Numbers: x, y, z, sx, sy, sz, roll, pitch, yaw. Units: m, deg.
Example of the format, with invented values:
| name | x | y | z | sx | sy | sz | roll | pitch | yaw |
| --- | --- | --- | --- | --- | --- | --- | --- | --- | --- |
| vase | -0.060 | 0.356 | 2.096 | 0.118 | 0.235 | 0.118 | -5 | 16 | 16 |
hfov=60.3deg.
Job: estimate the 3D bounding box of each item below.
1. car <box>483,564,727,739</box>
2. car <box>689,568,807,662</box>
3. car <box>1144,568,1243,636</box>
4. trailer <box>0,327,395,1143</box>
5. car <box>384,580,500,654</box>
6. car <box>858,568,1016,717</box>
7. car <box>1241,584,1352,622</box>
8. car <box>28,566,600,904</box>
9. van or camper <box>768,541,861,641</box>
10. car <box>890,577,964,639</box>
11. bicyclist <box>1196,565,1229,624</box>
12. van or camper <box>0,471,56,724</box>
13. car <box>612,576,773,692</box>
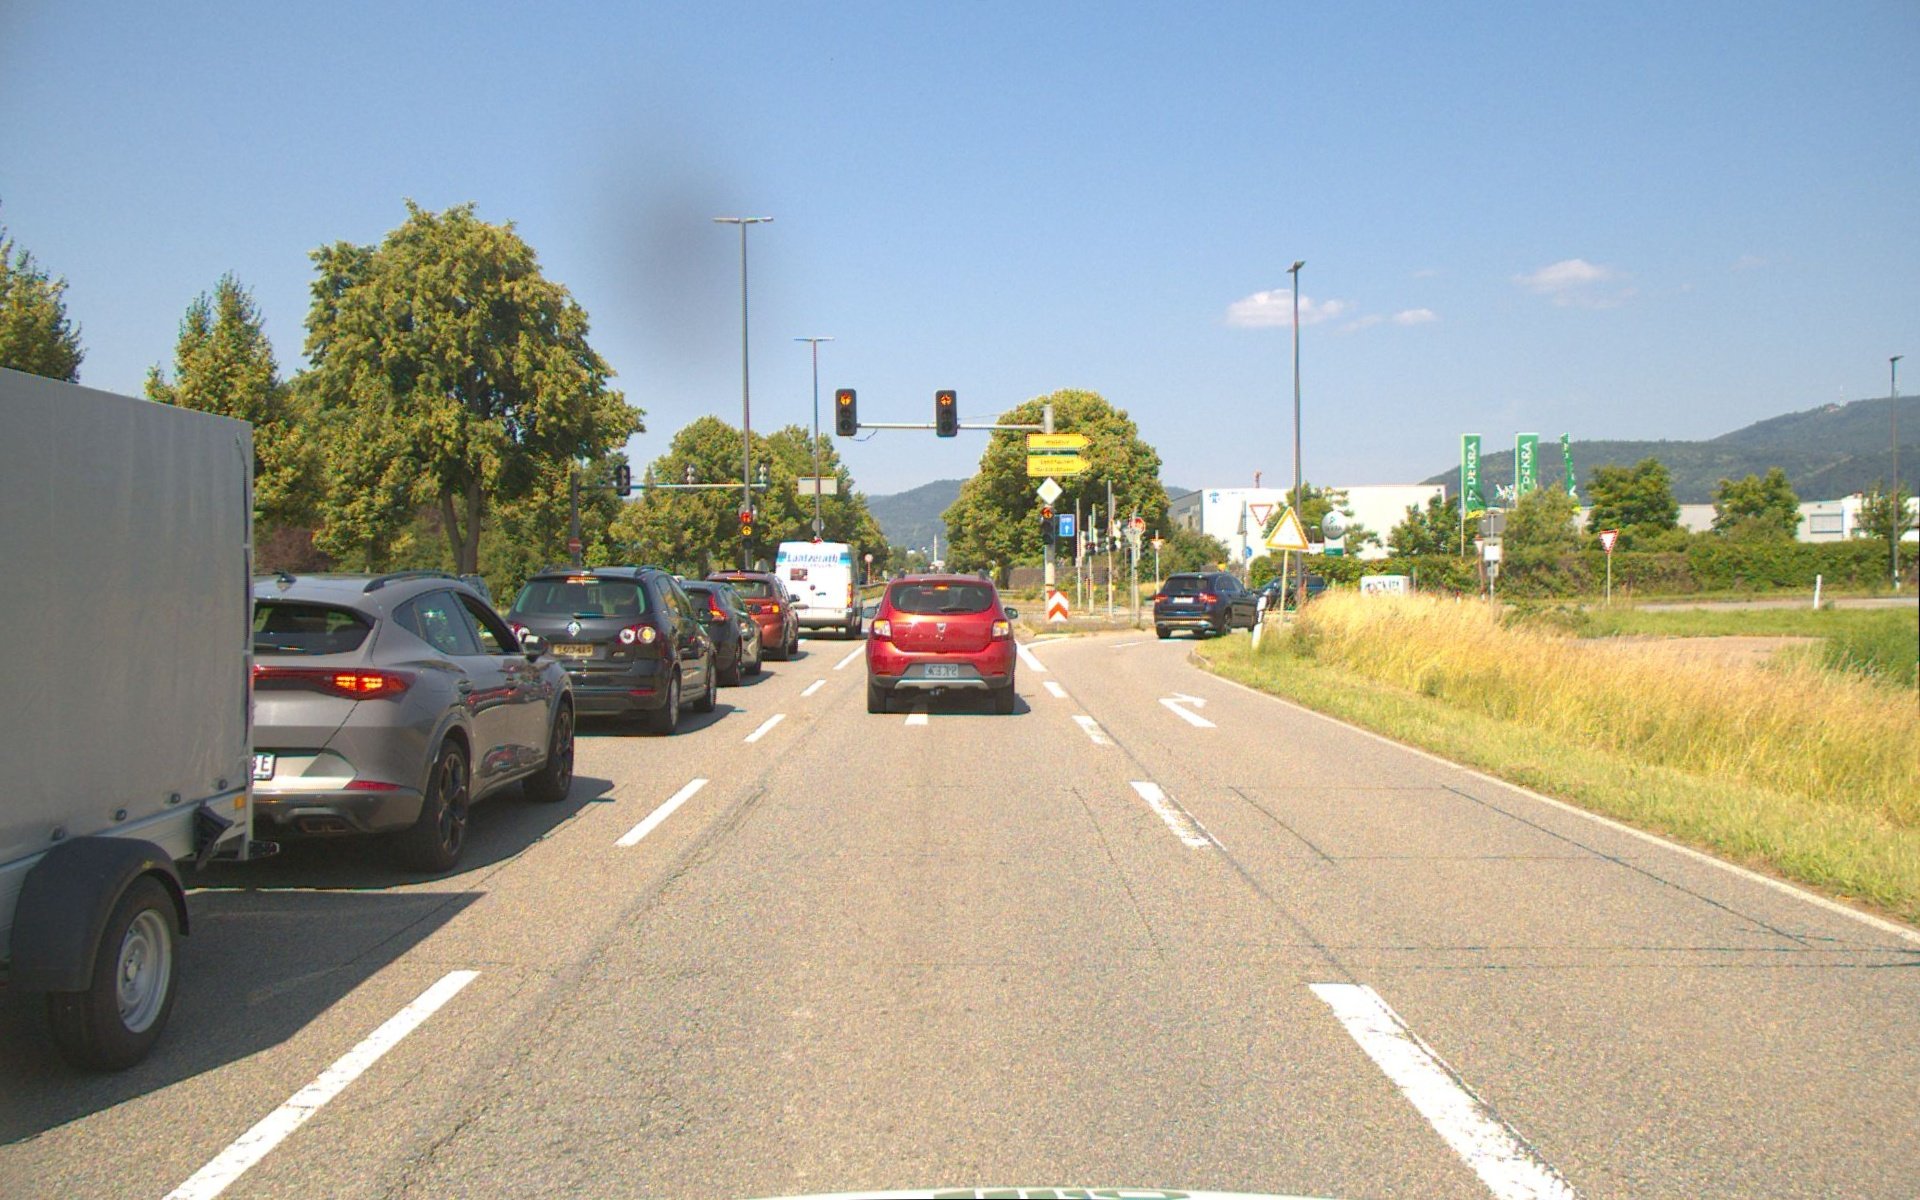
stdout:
| name | x | y | z | sx | sy | sz | roll | pitch | yaw |
| --- | --- | --- | --- | --- | --- | --- | --- | --- | --- |
| car | -3.533 | 0.442 | 17.131 | 1.688 | 1.603 | 3.892 | 0 | 1 | 0 |
| car | -3.900 | 0.236 | 30.947 | 1.689 | 1.628 | 3.955 | 0 | 1 | 0 |
| car | 6.092 | 0.017 | 42.714 | 1.951 | 1.645 | 4.342 | 1 | 1 | 16 |
| trailer | -3.355 | 0.351 | 5.664 | 1.470 | 2.211 | 4.173 | 0 | 1 | -1 |
| car | -14.212 | 0.418 | 45.624 | 1.820 | 1.888 | 4.695 | -1 | 1 | -2 |
| car | -0.217 | 0.439 | 19.851 | 1.713 | 1.603 | 3.677 | 0 | 1 | 1 |
| car | 12.416 | 0.108 | 61.191 | 3.902 | 1.350 | 1.808 | 0 | 1 | 6 |
| car | -3.420 | 0.580 | 9.738 | 1.710 | 1.529 | 4.362 | 0 | 1 | -1 |
| van or camper | -3.579 | -0.233 | 41.464 | 2.135 | 2.343 | 4.824 | 1 | 1 | -3 |
| car | -0.789 | 0.165 | 41.418 | 1.713 | 1.483 | 3.677 | 0 | 1 | 1 |
| bicyclist | 7.819 | -0.171 | 51.312 | 0.787 | 1.802 | 0.807 | -1 | 1 | -9 |
| van or camper | -13.008 | 0.008 | 18.980 | 2.217 | 3.153 | 5.693 | -1 | 1 | -2 |
| car | -3.772 | 0.427 | 23.882 | 1.667 | 1.467 | 3.956 | 1 | 1 | 0 |
